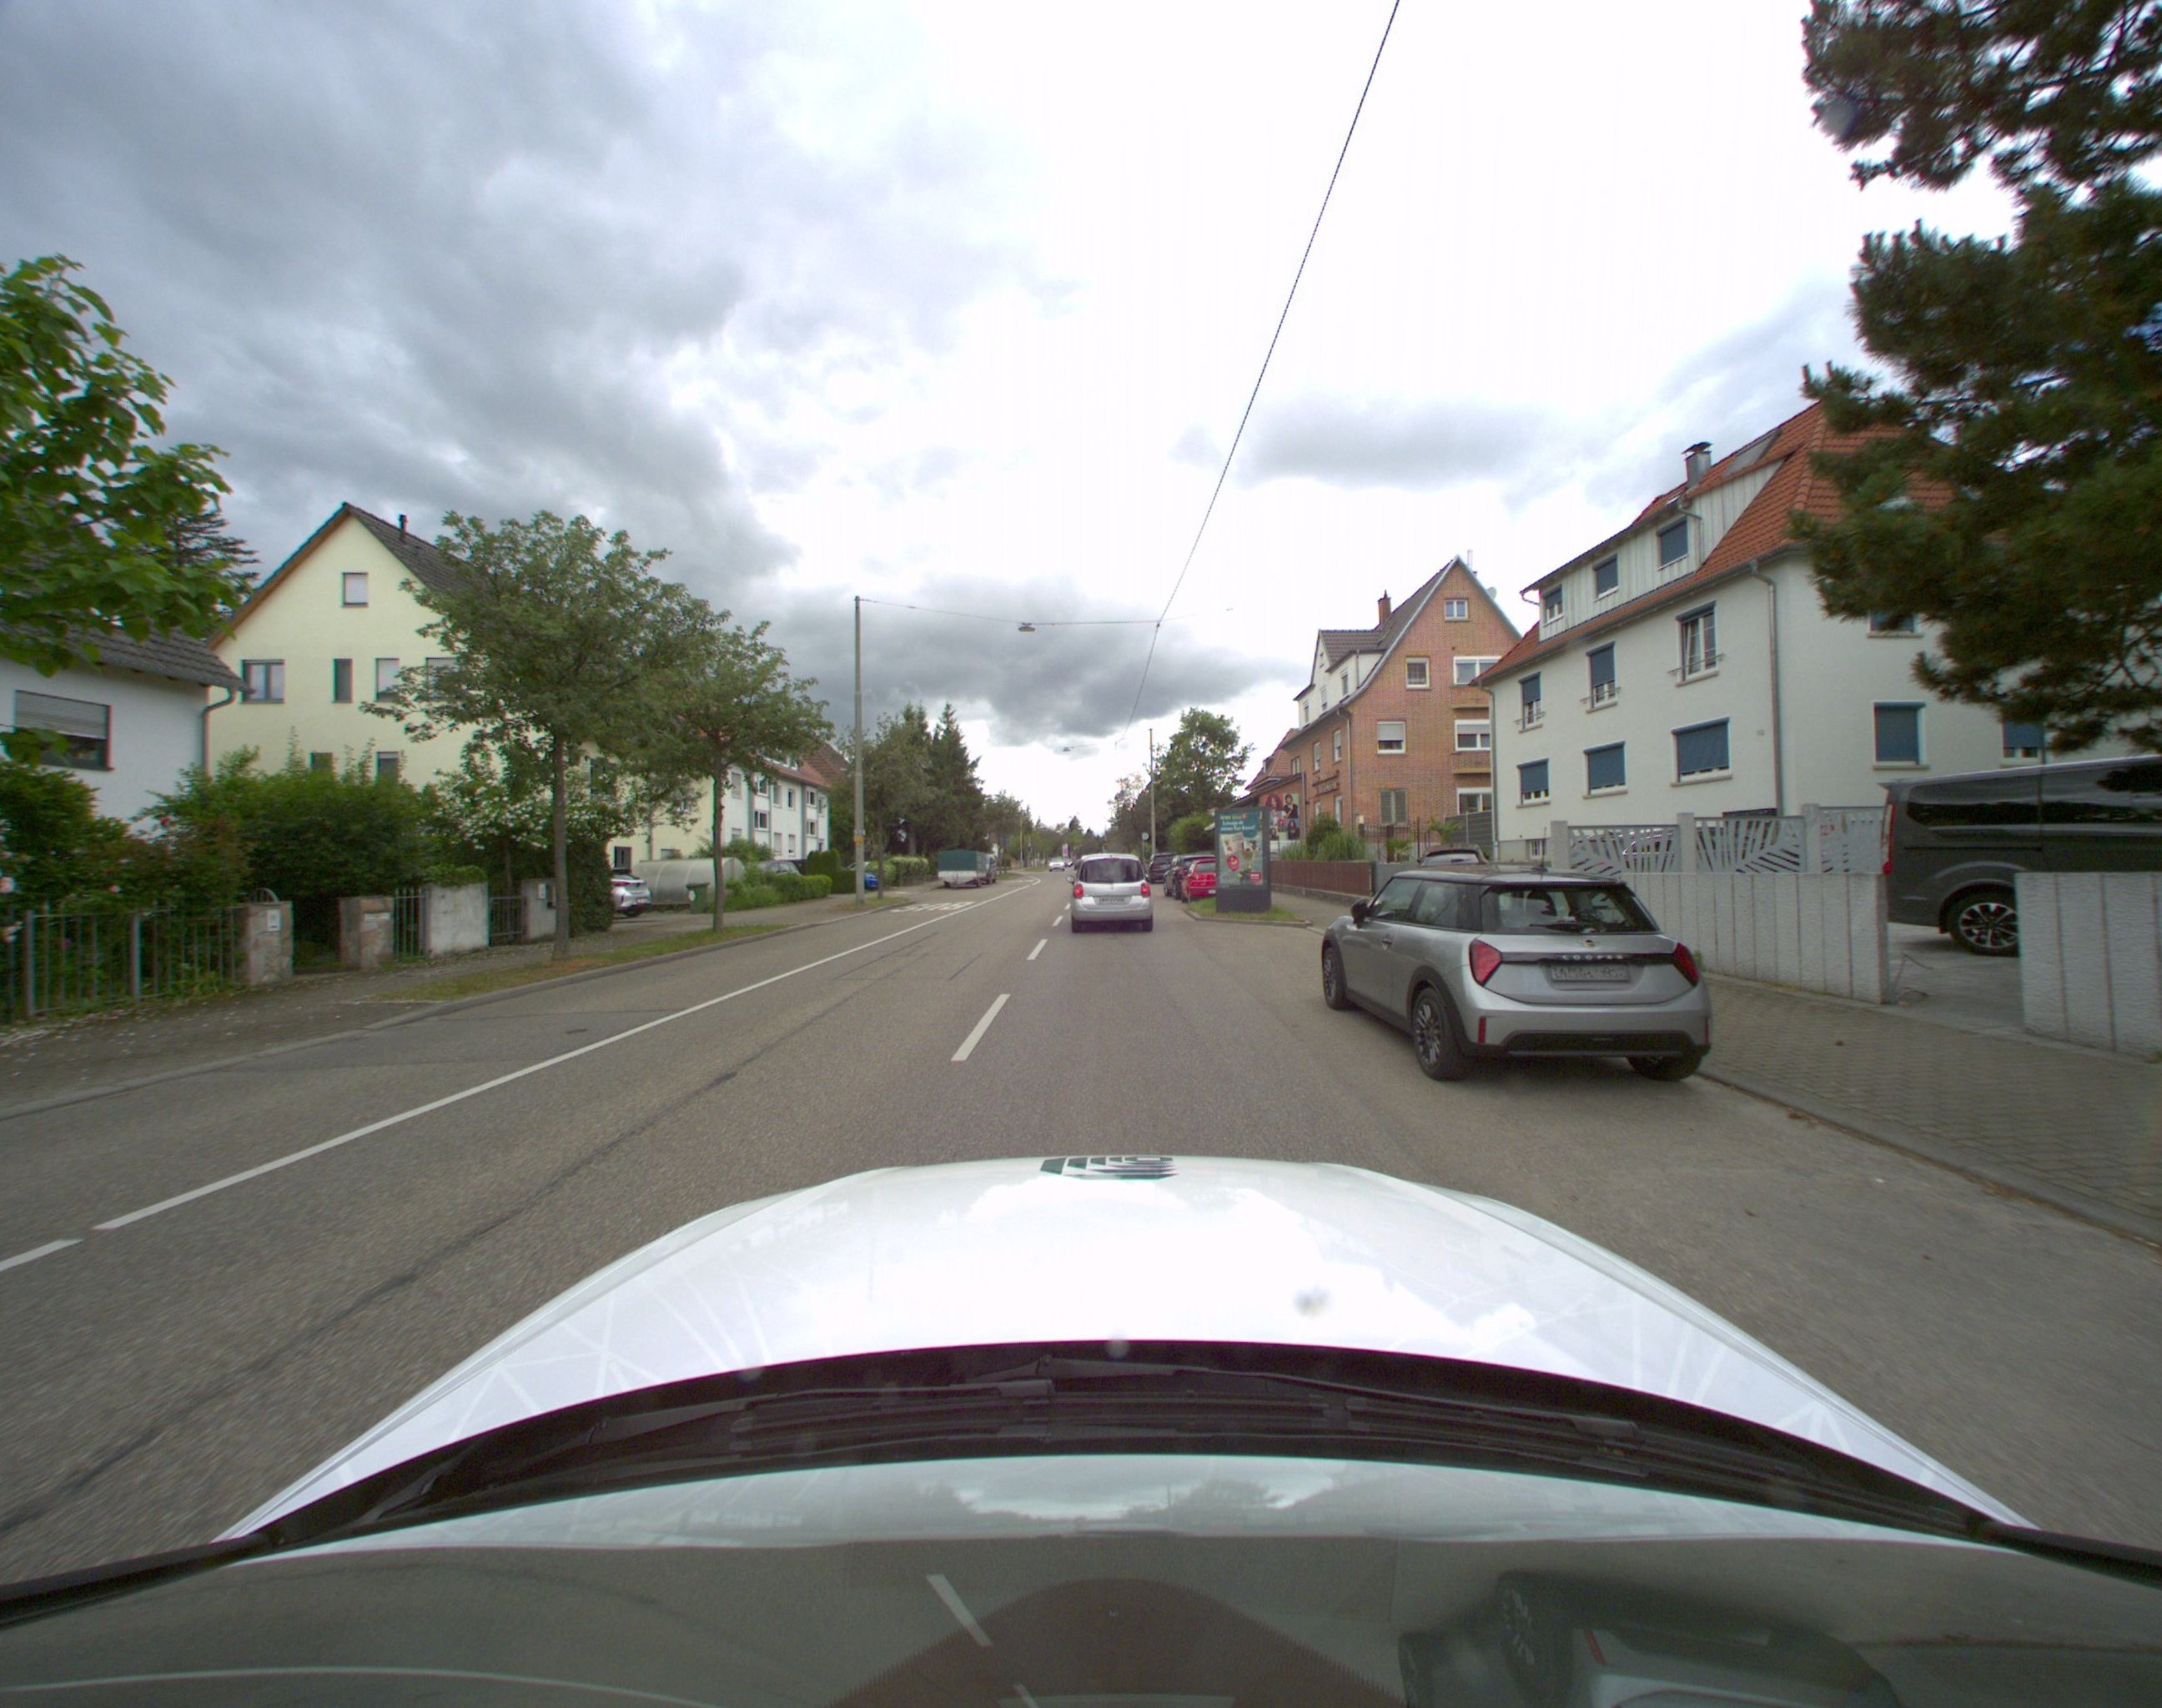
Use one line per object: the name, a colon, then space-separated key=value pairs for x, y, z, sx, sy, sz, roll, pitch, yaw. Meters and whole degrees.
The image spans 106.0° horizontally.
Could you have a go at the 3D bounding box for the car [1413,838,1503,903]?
car: x=9.643 y=0.369 z=20.989 sx=1.802 sy=1.381 sz=4.505 roll=-5 pitch=-1 yaw=24

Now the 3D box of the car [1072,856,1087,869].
car: x=-0.121 y=1.099 z=105.673 sx=1.822 sy=1.676 sz=3.575 roll=-1 pitch=-1 yaw=1

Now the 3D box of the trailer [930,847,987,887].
trailer: x=-6.796 y=0.770 z=45.784 sx=2.305 sy=2.087 sz=5.871 roll=1 pitch=-2 yaw=0

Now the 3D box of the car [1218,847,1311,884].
car: x=8.854 y=0.572 z=39.515 sx=3.984 sy=1.496 sz=1.805 roll=-4 pitch=-1 yaw=-8

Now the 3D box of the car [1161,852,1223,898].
car: x=4.045 y=0.738 z=30.257 sx=1.658 sy=1.564 sz=4.096 roll=-1 pitch=0 yaw=-1

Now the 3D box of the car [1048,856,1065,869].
car: x=-2.997 y=1.063 z=99.170 sx=1.902 sy=1.618 sz=3.994 roll=0 pitch=-2 yaw=-4

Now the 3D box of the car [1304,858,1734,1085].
car: x=3.222 y=0.765 z=6.987 sx=1.644 sy=1.382 sz=4.001 roll=0 pitch=-2 yaw=2

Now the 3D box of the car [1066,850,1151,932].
car: x=0.609 y=0.760 z=17.716 sx=1.624 sy=1.557 sz=4.001 roll=1 pitch=-2 yaw=2

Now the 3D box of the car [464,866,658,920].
car: x=-14.024 y=1.035 z=22.159 sx=4.058 sy=1.286 sz=1.753 roll=-2 pitch=-1 yaw=-4

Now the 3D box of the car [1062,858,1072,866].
car: x=-2.557 y=1.421 z=146.920 sx=1.717 sy=1.411 sz=3.996 roll=1 pitch=-2 yaw=-2

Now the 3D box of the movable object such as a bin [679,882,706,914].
movable object such as a bin: x=-11.280 y=1.262 z=23.672 sx=0.571 sy=0.902 sz=0.549 roll=-2 pitch=-2 yaw=45

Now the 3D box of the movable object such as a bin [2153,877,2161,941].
movable object such as a bin: x=7.766 y=0.653 z=5.371 sx=0.594 sy=1.056 sz=0.611 roll=-5 pitch=-2 yaw=-20

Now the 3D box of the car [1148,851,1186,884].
car: x=4.935 y=0.806 z=47.104 sx=1.806 sy=1.743 sz=3.999 roll=-2 pitch=-2 yaw=0

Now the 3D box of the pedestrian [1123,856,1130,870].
pedestrian: x=5.295 y=1.090 z=95.094 sx=0.703 sy=1.647 sz=0.773 roll=-1 pitch=-1 yaw=0

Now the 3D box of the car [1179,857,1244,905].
car: x=4.069 y=0.813 z=25.880 sx=1.655 sy=1.393 sz=3.671 roll=-1 pitch=0 yaw=3

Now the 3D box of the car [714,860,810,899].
car: x=-12.182 y=0.979 z=31.383 sx=1.869 sy=1.417 sz=4.004 roll=0 pitch=-1 yaw=4

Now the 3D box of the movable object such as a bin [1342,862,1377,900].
movable object such as a bin: x=8.167 y=0.786 z=23.874 sx=0.773 sy=1.104 sz=0.691 roll=-1 pitch=-1 yaw=0

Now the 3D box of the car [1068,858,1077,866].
car: x=-1.676 y=1.567 z=163.251 sx=1.717 sy=1.411 sz=3.996 roll=1 pitch=-2 yaw=-2

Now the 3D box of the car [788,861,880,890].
car: x=-11.818 y=1.063 z=39.197 sx=3.985 sy=1.338 sz=1.573 roll=1 pitch=-2 yaw=-9

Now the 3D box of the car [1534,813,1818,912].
car: x=11.147 y=0.172 z=15.410 sx=4.255 sy=1.506 sz=1.691 roll=-4 pitch=-2 yaw=-7

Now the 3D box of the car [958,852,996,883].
car: x=-6.772 y=0.916 z=53.511 sx=1.882 sy=1.922 sz=4.560 roll=1 pitch=-2 yaw=0

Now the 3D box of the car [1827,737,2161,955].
car: x=10.853 y=-0.128 z=7.997 sx=1.982 sy=2.013 sz=4.684 roll=-4 pitch=-2 yaw=-25
